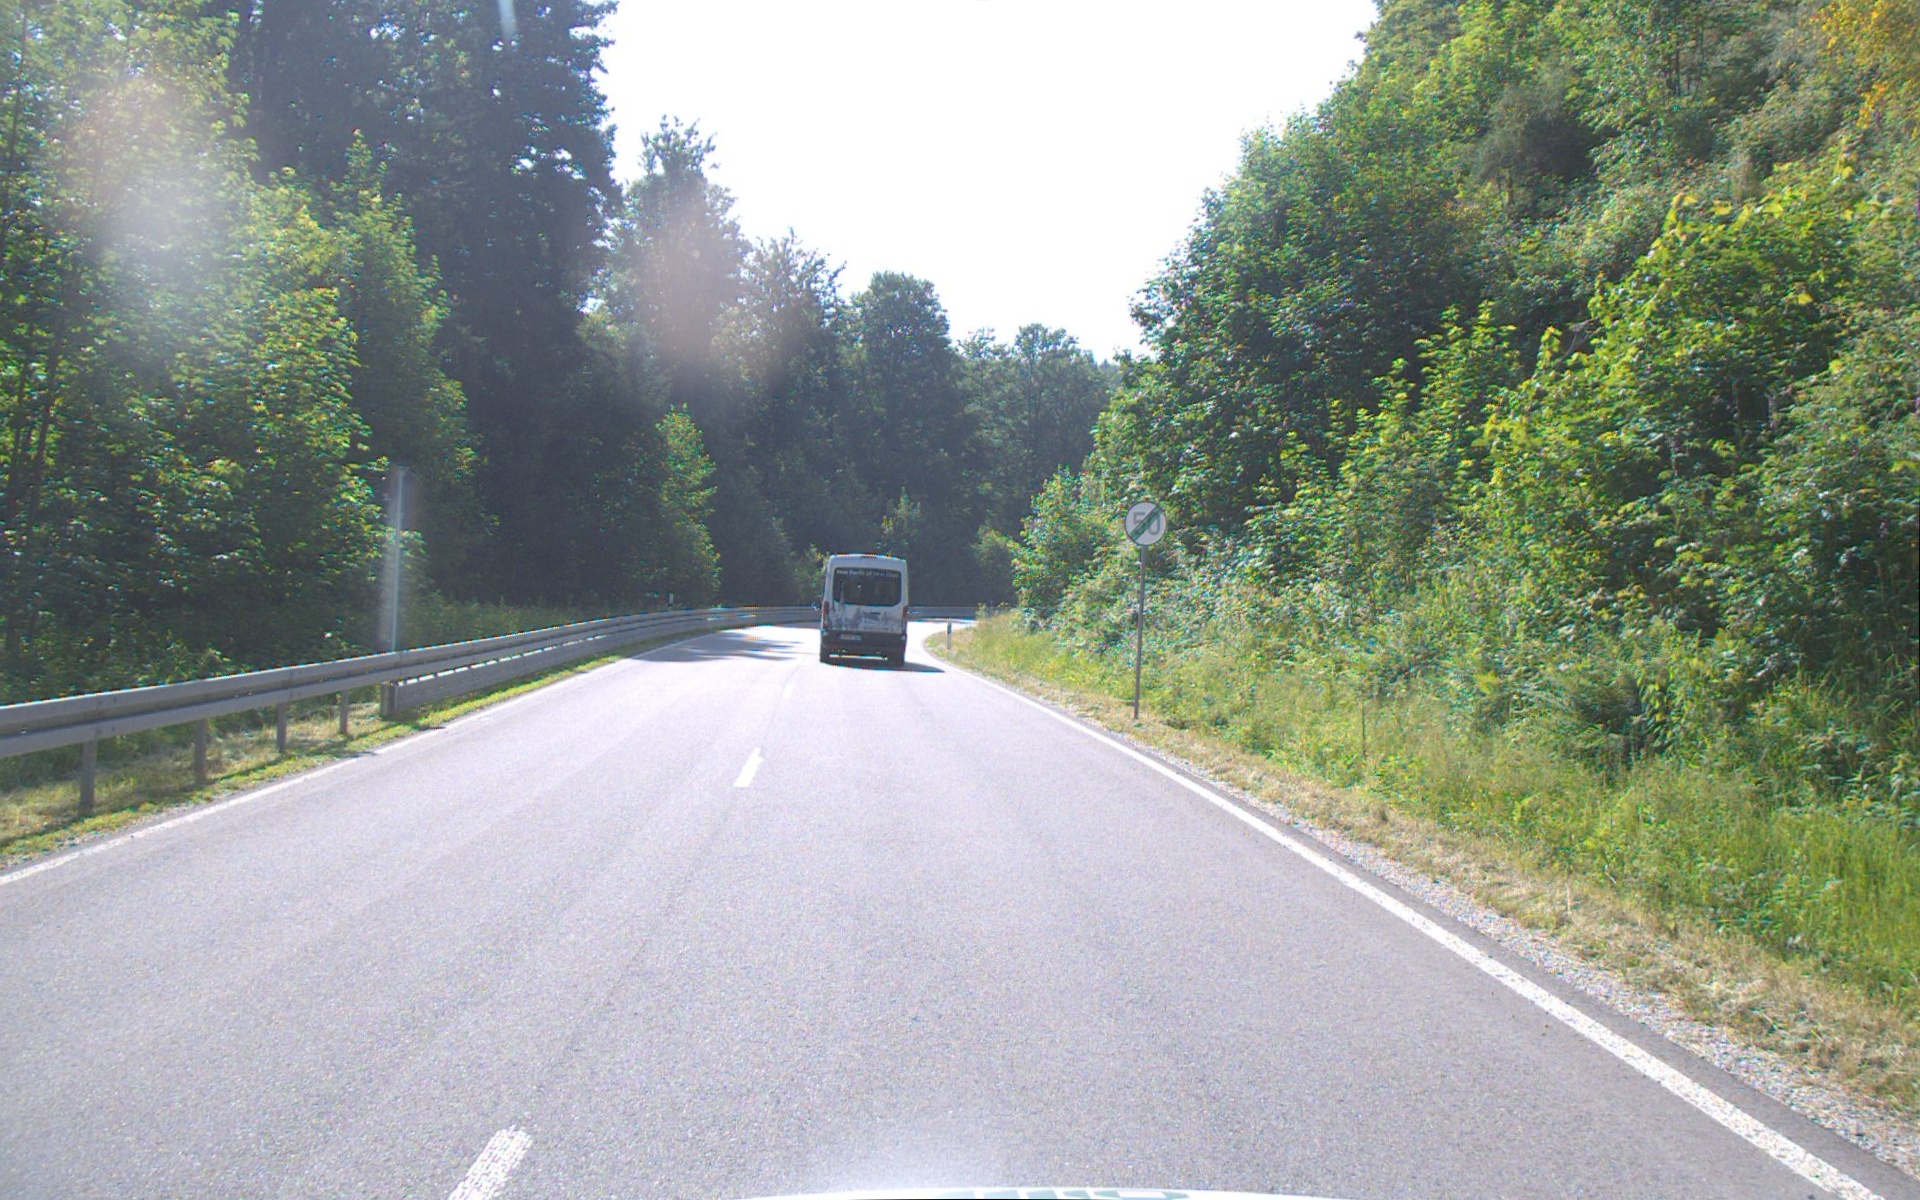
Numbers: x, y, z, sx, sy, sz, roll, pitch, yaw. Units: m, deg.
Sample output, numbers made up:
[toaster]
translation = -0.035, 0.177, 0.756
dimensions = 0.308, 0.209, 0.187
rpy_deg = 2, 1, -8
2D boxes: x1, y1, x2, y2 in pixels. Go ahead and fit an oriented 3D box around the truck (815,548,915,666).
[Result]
[truck]
translation = -2.358, 0.141, 39.727
dimensions = 2.075, 2.542, 5.353
rpy_deg = 3, 0, -6
